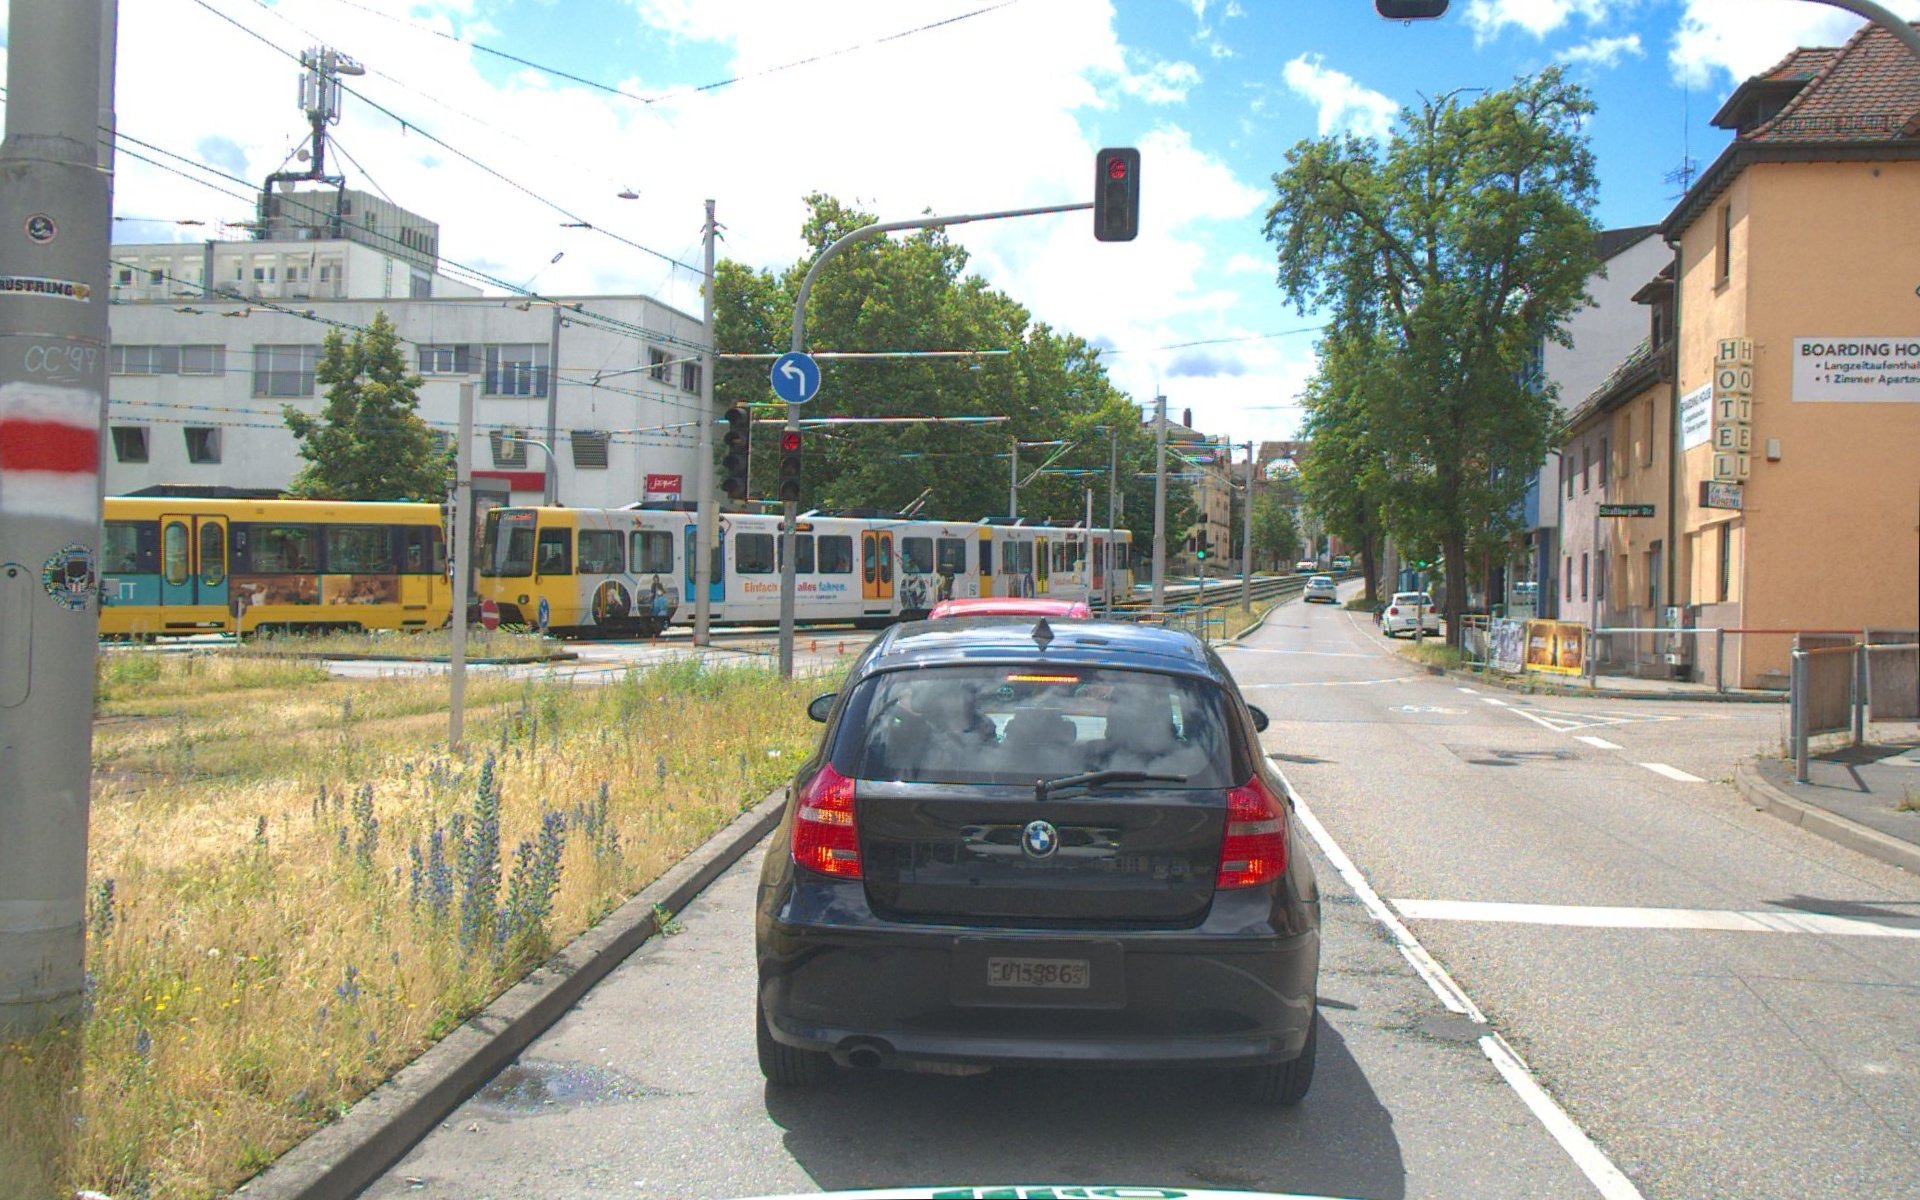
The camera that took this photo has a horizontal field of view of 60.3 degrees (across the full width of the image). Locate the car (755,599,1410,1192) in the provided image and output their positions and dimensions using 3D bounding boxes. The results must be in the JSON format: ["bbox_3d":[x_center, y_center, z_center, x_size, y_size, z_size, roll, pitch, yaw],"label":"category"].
[{"bbox_3d":[0.218,0.762,6.198,1.667,1.477,3.997,0,-1,-3],"label":"car"}]

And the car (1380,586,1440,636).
[{"bbox_3d":[15.239,0.377,56.149,1.749,1.624,4.003,0,-1,12],"label":"car"}]

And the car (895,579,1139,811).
[{"bbox_3d":[0.560,0.642,12.789,1.590,1.499,4.002,0,-1,6],"label":"car"}]

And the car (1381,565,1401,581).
[{"bbox_3d":[41.246,-2.577,158.412,1.777,1.494,4.003,3,1,14],"label":"car"}]

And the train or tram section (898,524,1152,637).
[{"bbox_3d":[3.265,-0.573,66.522,3.672,3.881,20.048,-1,-1,22],"label":"train or tram section"}]

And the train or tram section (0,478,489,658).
[{"bbox_3d":[-21.202,-0.671,37.789,19.853,3.896,3.727,0,-1,-28],"label":"train or tram section"}]

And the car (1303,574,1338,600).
[{"bbox_3d":[21.093,-0.742,96.759,1.776,1.494,4.003,0,0,15],"label":"car"}]

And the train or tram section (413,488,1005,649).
[{"bbox_3d":[-6.361,-0.703,49.825,3.691,3.947,20.530,-1,-1,39],"label":"train or tram section"}]

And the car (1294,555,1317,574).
[{"bbox_3d":[39.414,-4.035,188.398,1.952,2.049,4.000,-1,-1,21],"label":"car"}]

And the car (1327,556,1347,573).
[{"bbox_3d":[47.416,-4.453,207.825,1.952,2.049,4.000,-1,-1,21],"label":"car"}]
